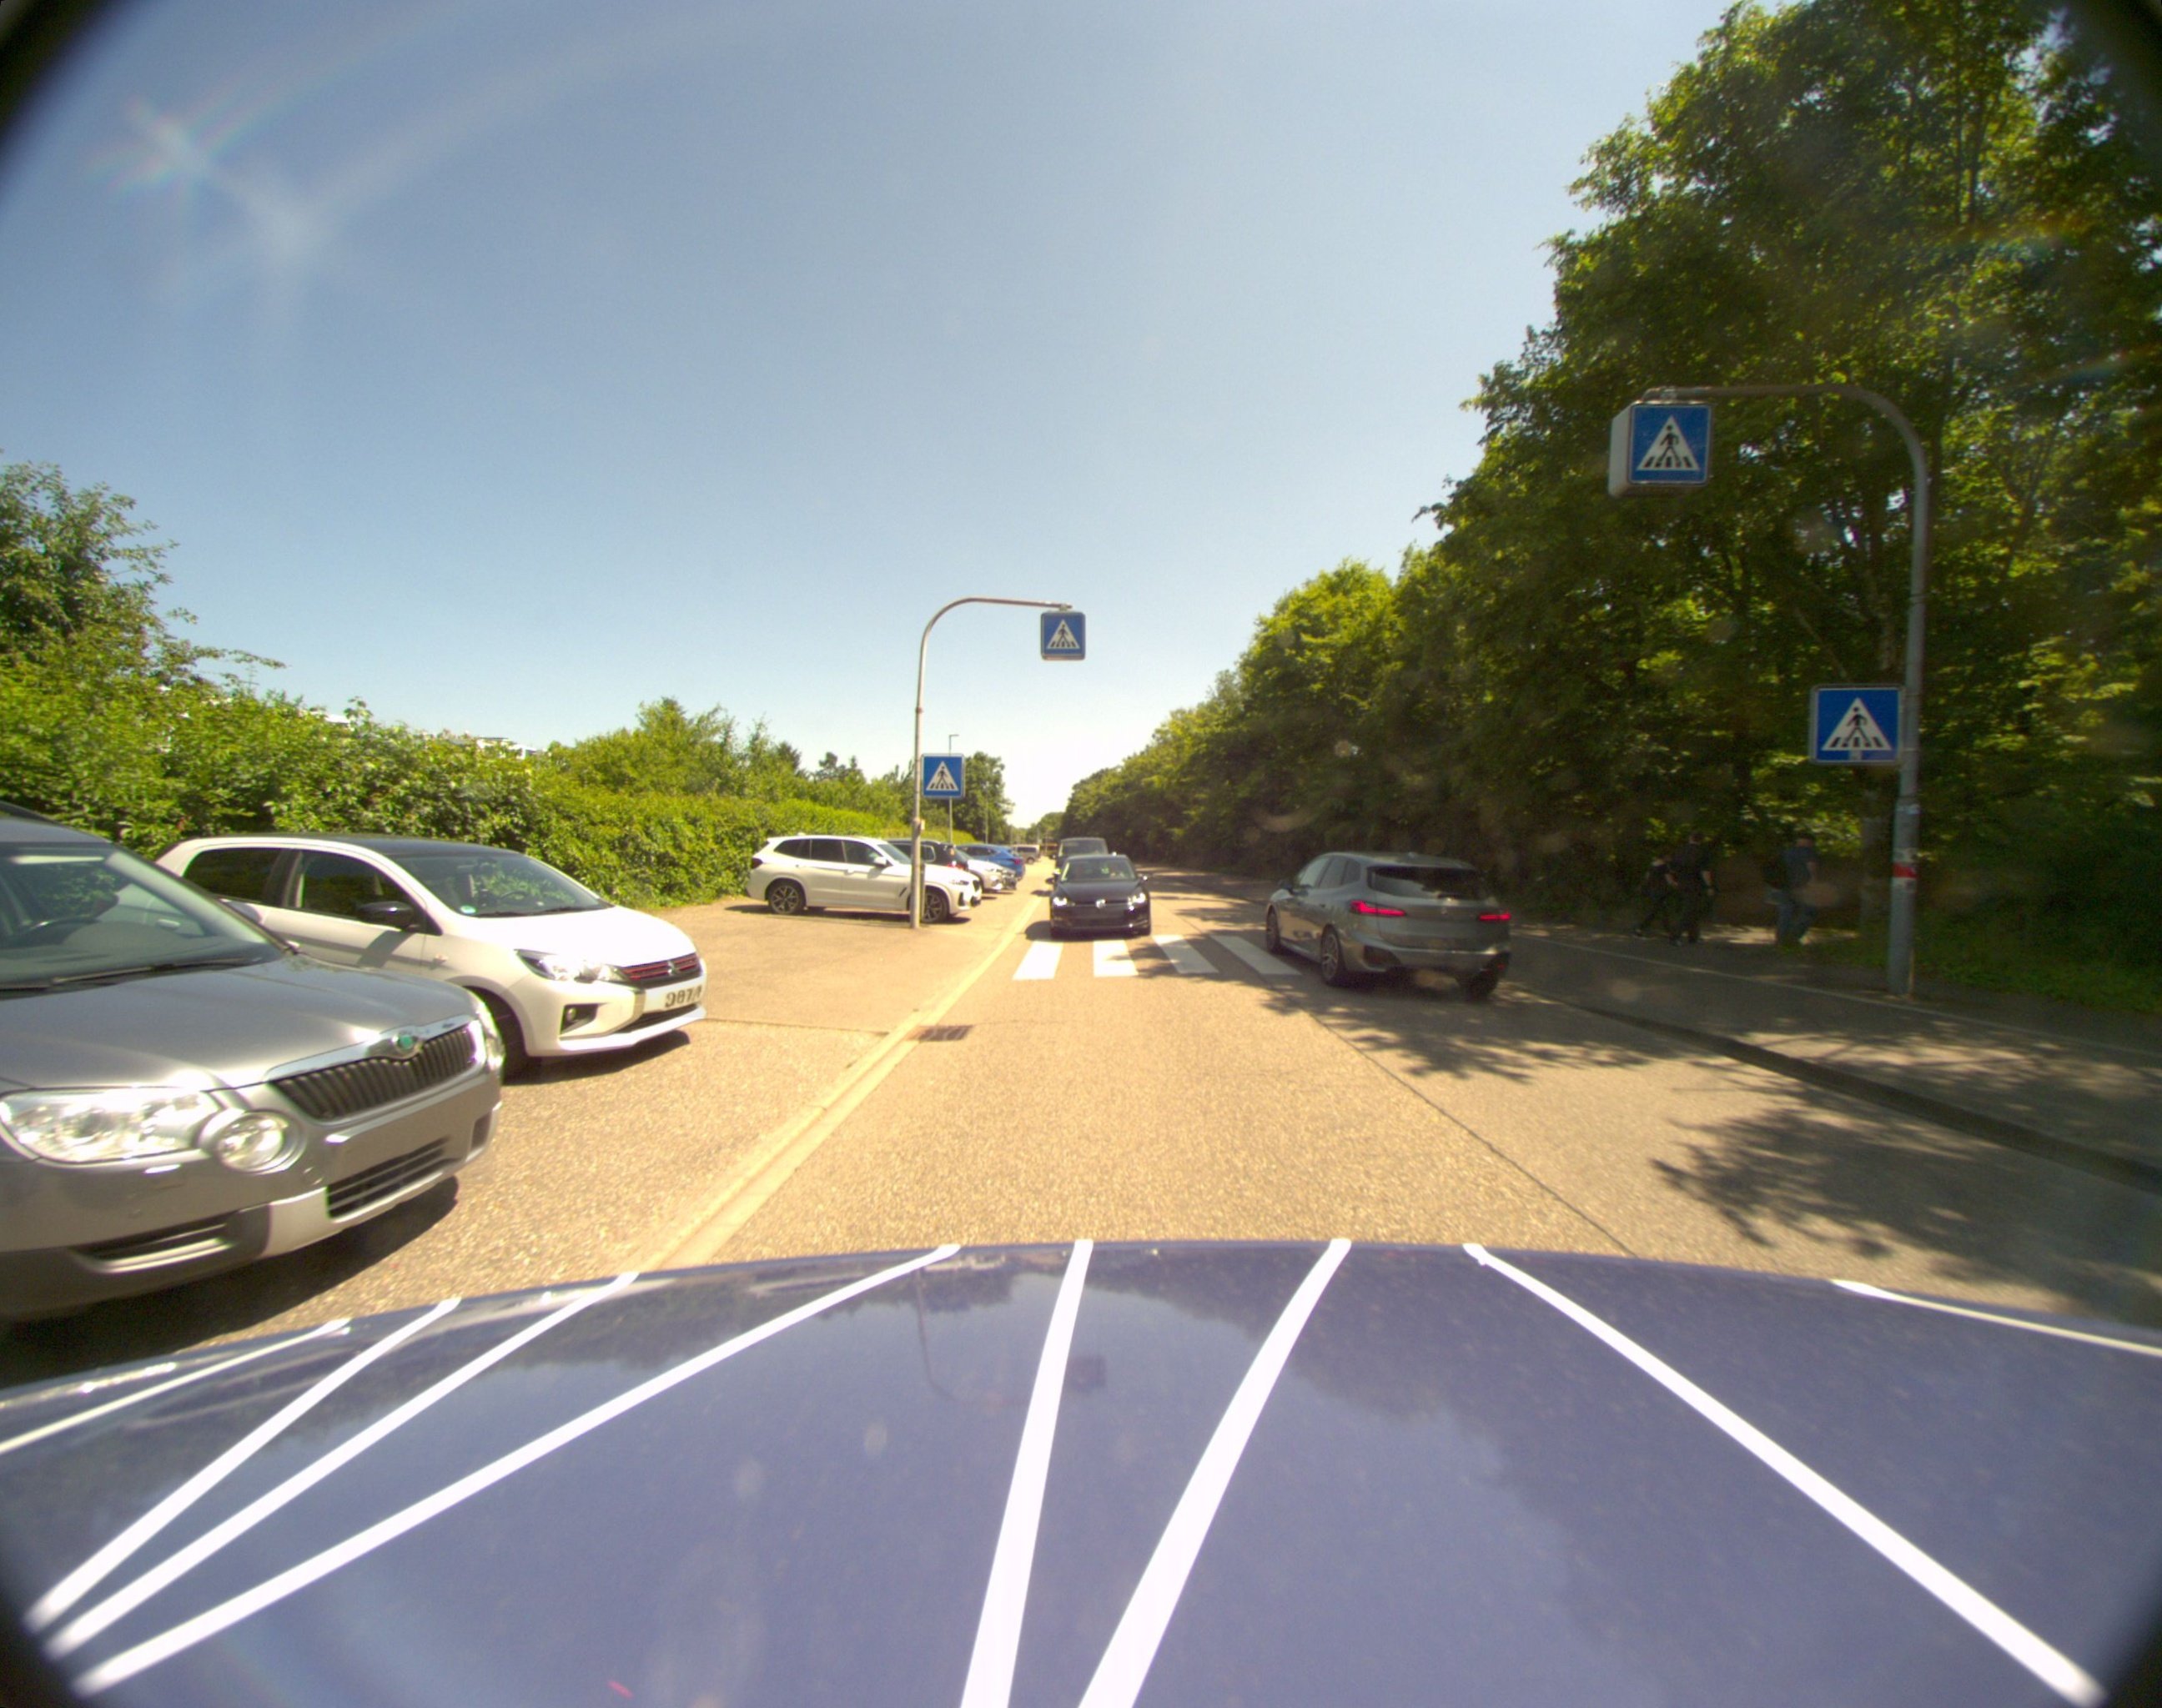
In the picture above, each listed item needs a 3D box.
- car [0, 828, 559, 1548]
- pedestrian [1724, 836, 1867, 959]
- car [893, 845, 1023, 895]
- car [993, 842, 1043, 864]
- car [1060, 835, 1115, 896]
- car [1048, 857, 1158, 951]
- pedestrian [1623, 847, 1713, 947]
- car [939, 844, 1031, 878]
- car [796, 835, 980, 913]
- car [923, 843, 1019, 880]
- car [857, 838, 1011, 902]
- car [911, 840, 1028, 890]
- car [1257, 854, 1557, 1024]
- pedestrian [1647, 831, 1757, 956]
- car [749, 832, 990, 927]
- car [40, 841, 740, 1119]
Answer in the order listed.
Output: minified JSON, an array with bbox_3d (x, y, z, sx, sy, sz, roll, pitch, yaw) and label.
[{"bbox_3d":[-4.374,0.734,2.549,3.971,1.631,1.663,4,1,-3],"label":"car"},{"bbox_3d":[10.685,0.630,11.406,1.158,1.741,1.023,-1,-1,-2],"label":"pedestrian"},{"bbox_3d":[-4.032,0.517,25.406,4.036,1.401,1.679,3,1,-1],"label":"car"},{"bbox_3d":[-5.855,-0.097,70.904,4.493,1.840,1.694,3,1,-4],"label":"car"},{"bbox_3d":[0.181,0.347,26.397,1.743,1.905,4.387,-1,1,-1],"label":"car"},{"bbox_3d":[0.325,0.810,14.374,1.743,1.396,4.387,-1,1,-1],"label":"car"},{"bbox_3d":[9.745,0.688,12.639,0.896,1.602,0.780,-1,1,-7],"label":"pedestrian"},{"bbox_3d":[-4.675,0.319,37.366,4.252,1.410,1.649,3,1,0],"label":"car"},{"bbox_3d":[-4.605,0.452,18.536,3.982,1.676,1.766,2,1,0],"label":"car"},{"bbox_3d":[-4.945,0.341,34.456,4.036,1.438,1.649,3,1,0],"label":"car"},{"bbox_3d":[-4.265,0.438,22.461,4.170,1.632,1.775,3,1,-2],"label":"car"},{"bbox_3d":[-4.082,0.384,28.315,4.036,1.632,1.673,3,1,0],"label":"car"},{"bbox_3d":[3.722,0.847,9.643,1.896,1.523,4.196,4,1,0],"label":"car"},{"bbox_3d":[9.586,0.580,11.759,1.086,1.854,0.783,-1,1,-7],"label":"pedestrian"},{"bbox_3d":[-4.275,0.479,15.836,4.464,1.720,1.850,2,2,1],"label":"car"},{"bbox_3d":[-4.715,0.755,5.509,3.697,1.442,1.610,4,1,5],"label":"car"}]
